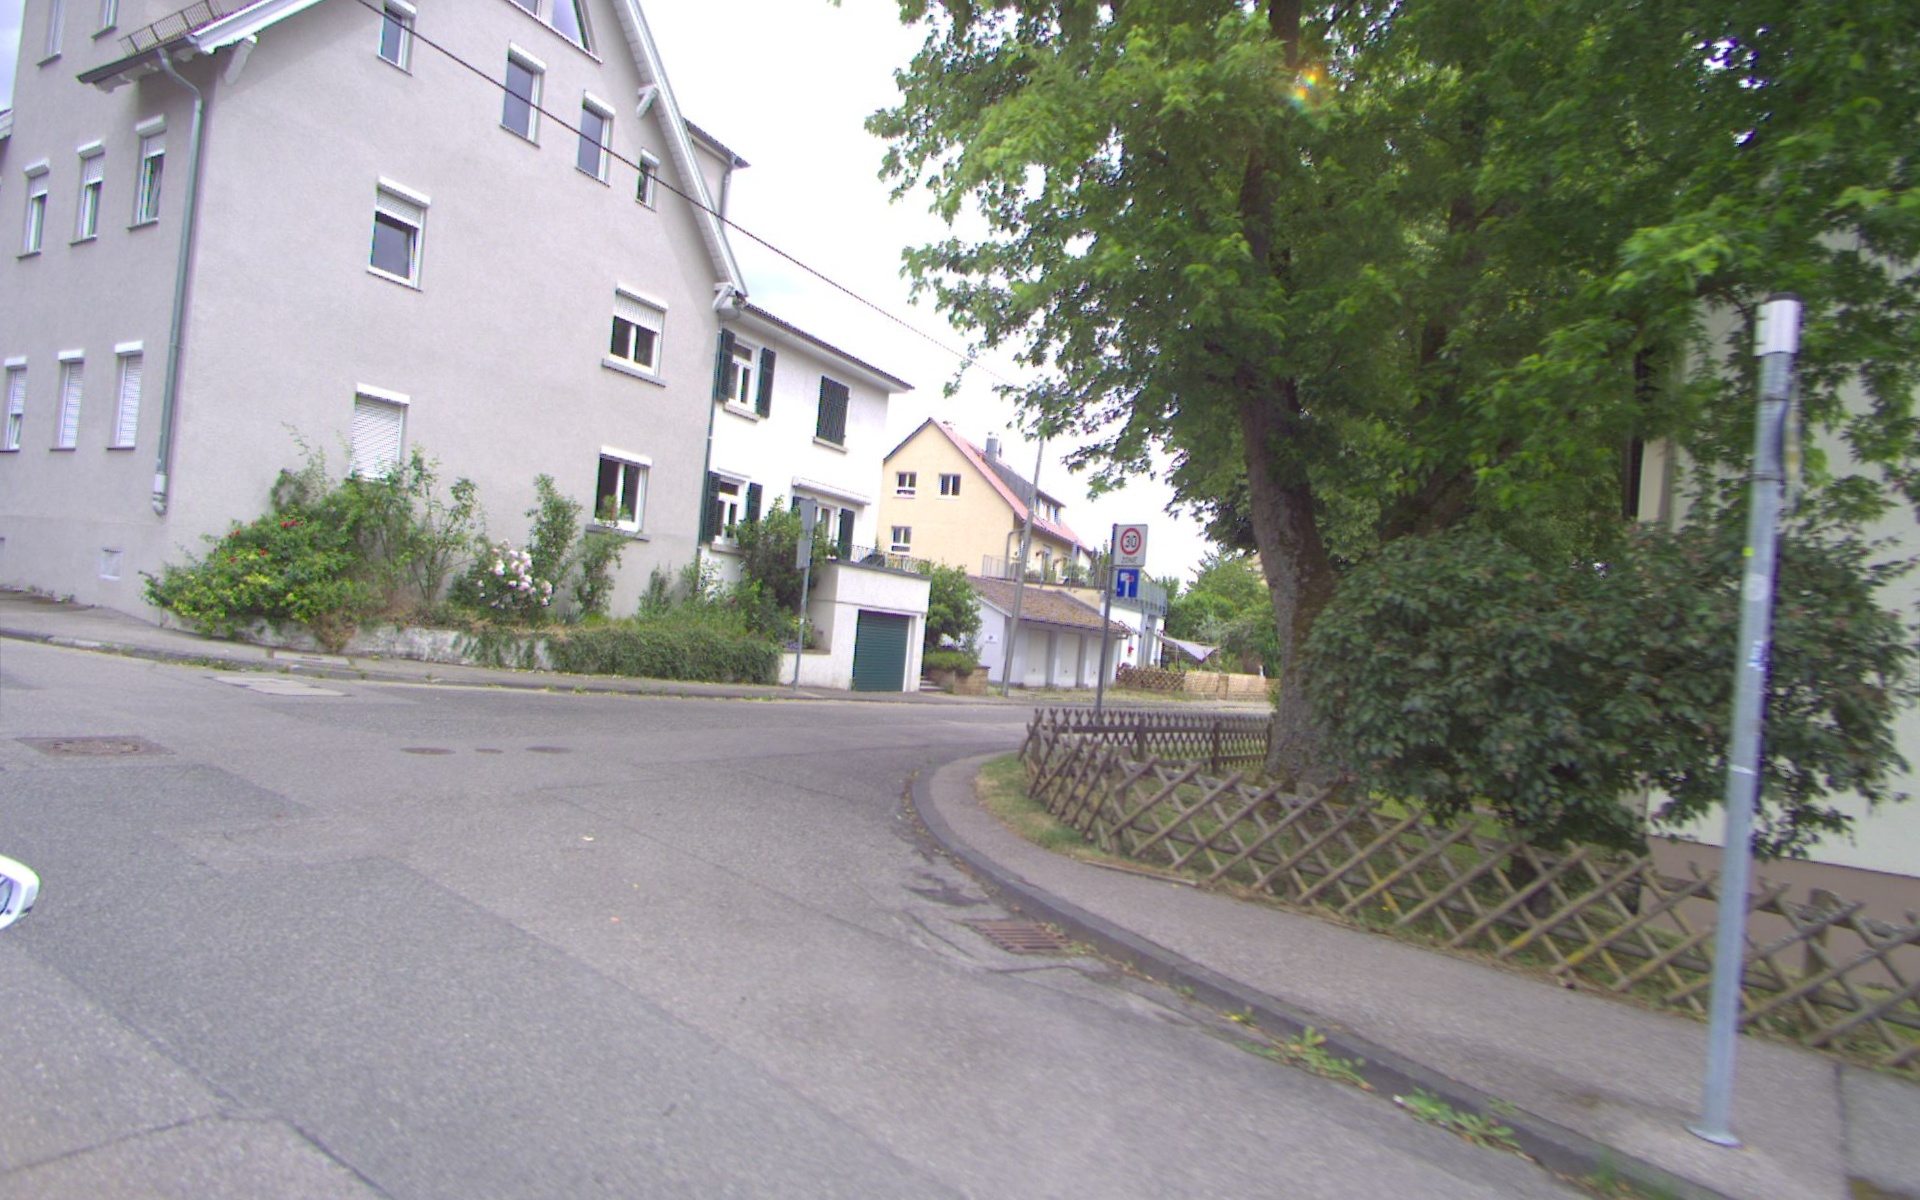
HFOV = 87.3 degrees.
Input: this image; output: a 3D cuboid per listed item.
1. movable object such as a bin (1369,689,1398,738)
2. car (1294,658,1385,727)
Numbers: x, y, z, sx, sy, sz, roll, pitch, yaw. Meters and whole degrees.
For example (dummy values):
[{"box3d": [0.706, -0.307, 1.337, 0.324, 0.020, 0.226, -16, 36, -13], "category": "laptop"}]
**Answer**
[{"box3d": [10.968, 2.936, 26.040, 0.513, 1.170, 0.428, 7, 0, 30], "category": "movable object such as a bin"}, {"box3d": [13.130, 3.187, 34.697, 1.967, 1.973, 3.992, 7, -1, 33], "category": "car"}]
